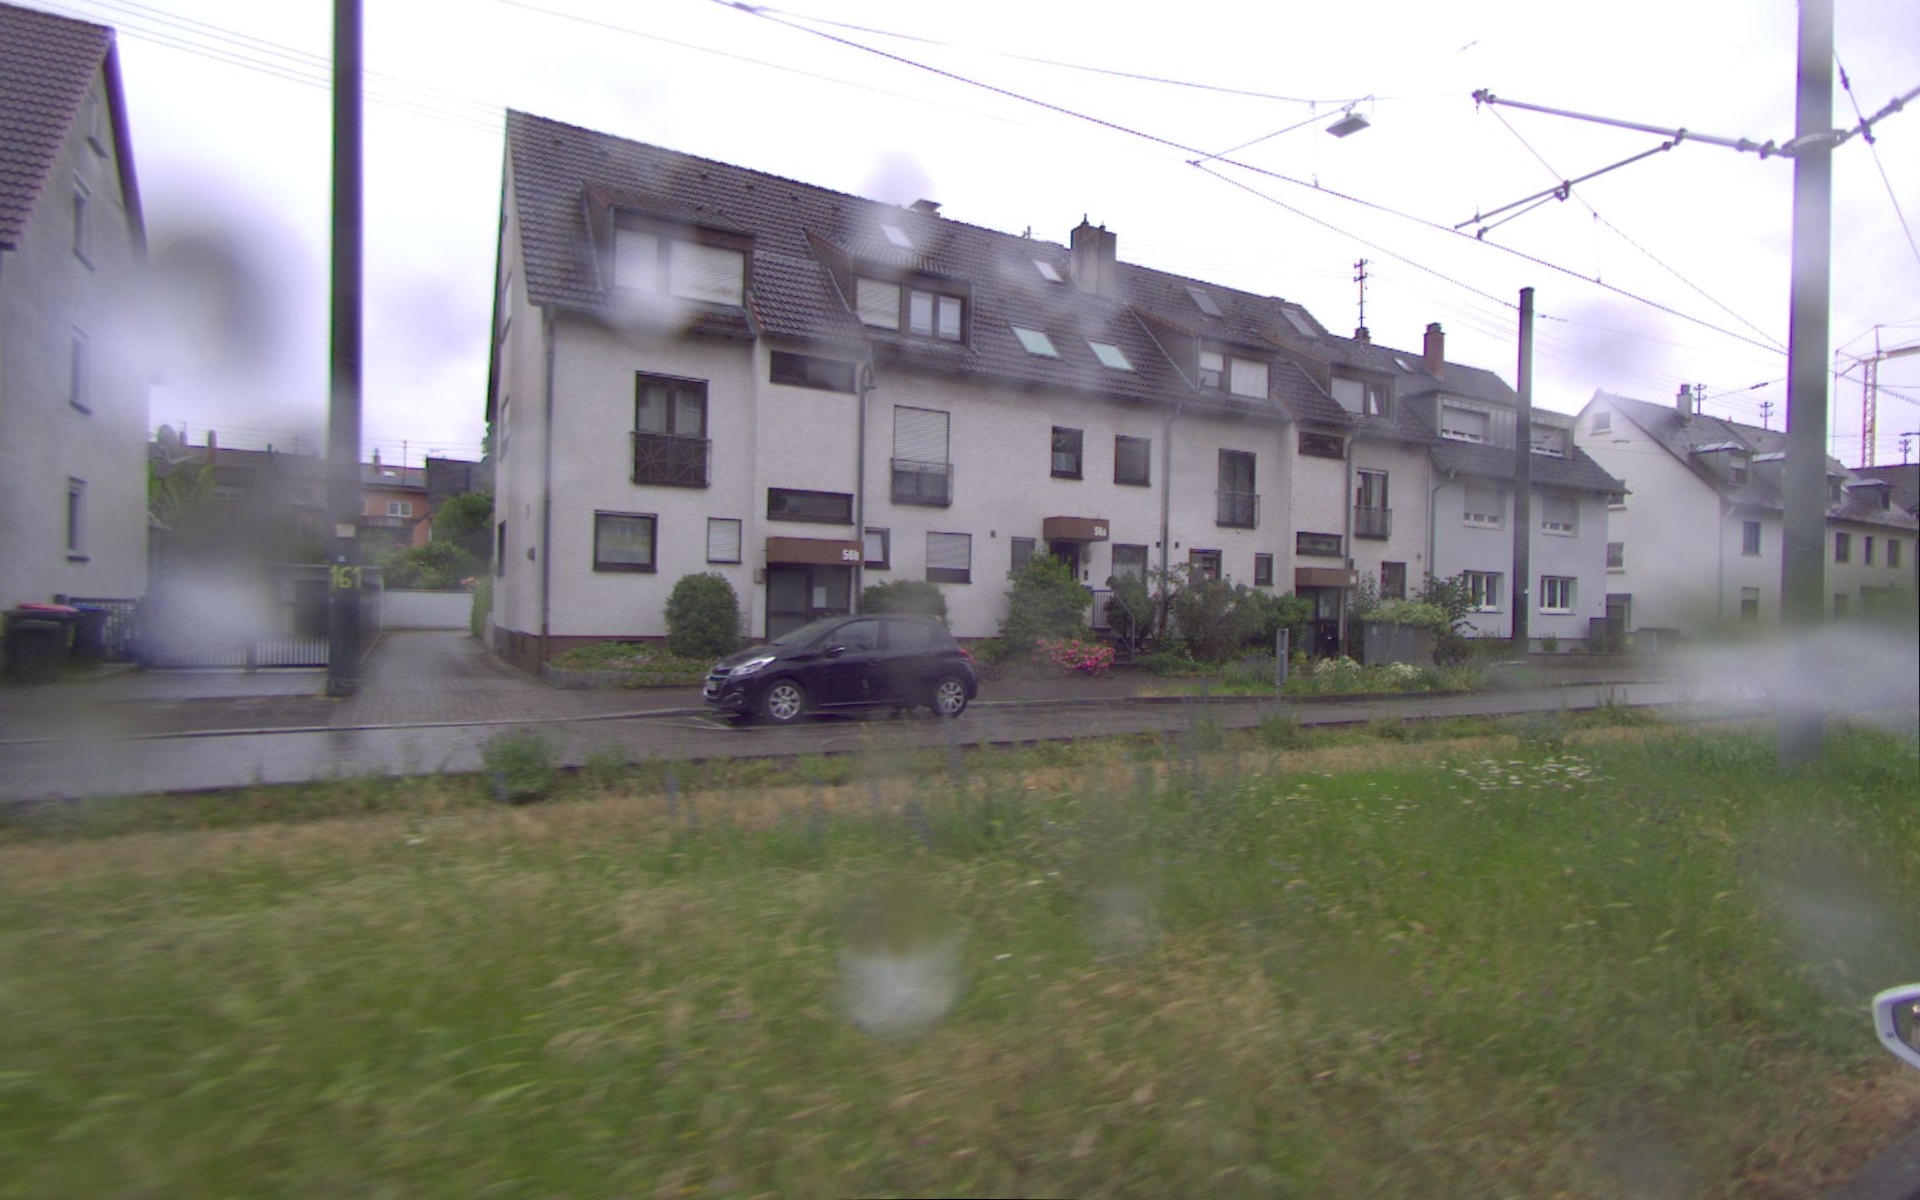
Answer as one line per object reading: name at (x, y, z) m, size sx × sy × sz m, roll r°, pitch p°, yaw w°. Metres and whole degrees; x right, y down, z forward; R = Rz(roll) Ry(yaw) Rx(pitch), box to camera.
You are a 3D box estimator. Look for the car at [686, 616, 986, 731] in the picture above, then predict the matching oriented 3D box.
car at (-1.744, 0.976, 14.366) m, size 3.890 × 1.445 × 1.765 m, roll 1°, pitch -1°, yaw -29°
